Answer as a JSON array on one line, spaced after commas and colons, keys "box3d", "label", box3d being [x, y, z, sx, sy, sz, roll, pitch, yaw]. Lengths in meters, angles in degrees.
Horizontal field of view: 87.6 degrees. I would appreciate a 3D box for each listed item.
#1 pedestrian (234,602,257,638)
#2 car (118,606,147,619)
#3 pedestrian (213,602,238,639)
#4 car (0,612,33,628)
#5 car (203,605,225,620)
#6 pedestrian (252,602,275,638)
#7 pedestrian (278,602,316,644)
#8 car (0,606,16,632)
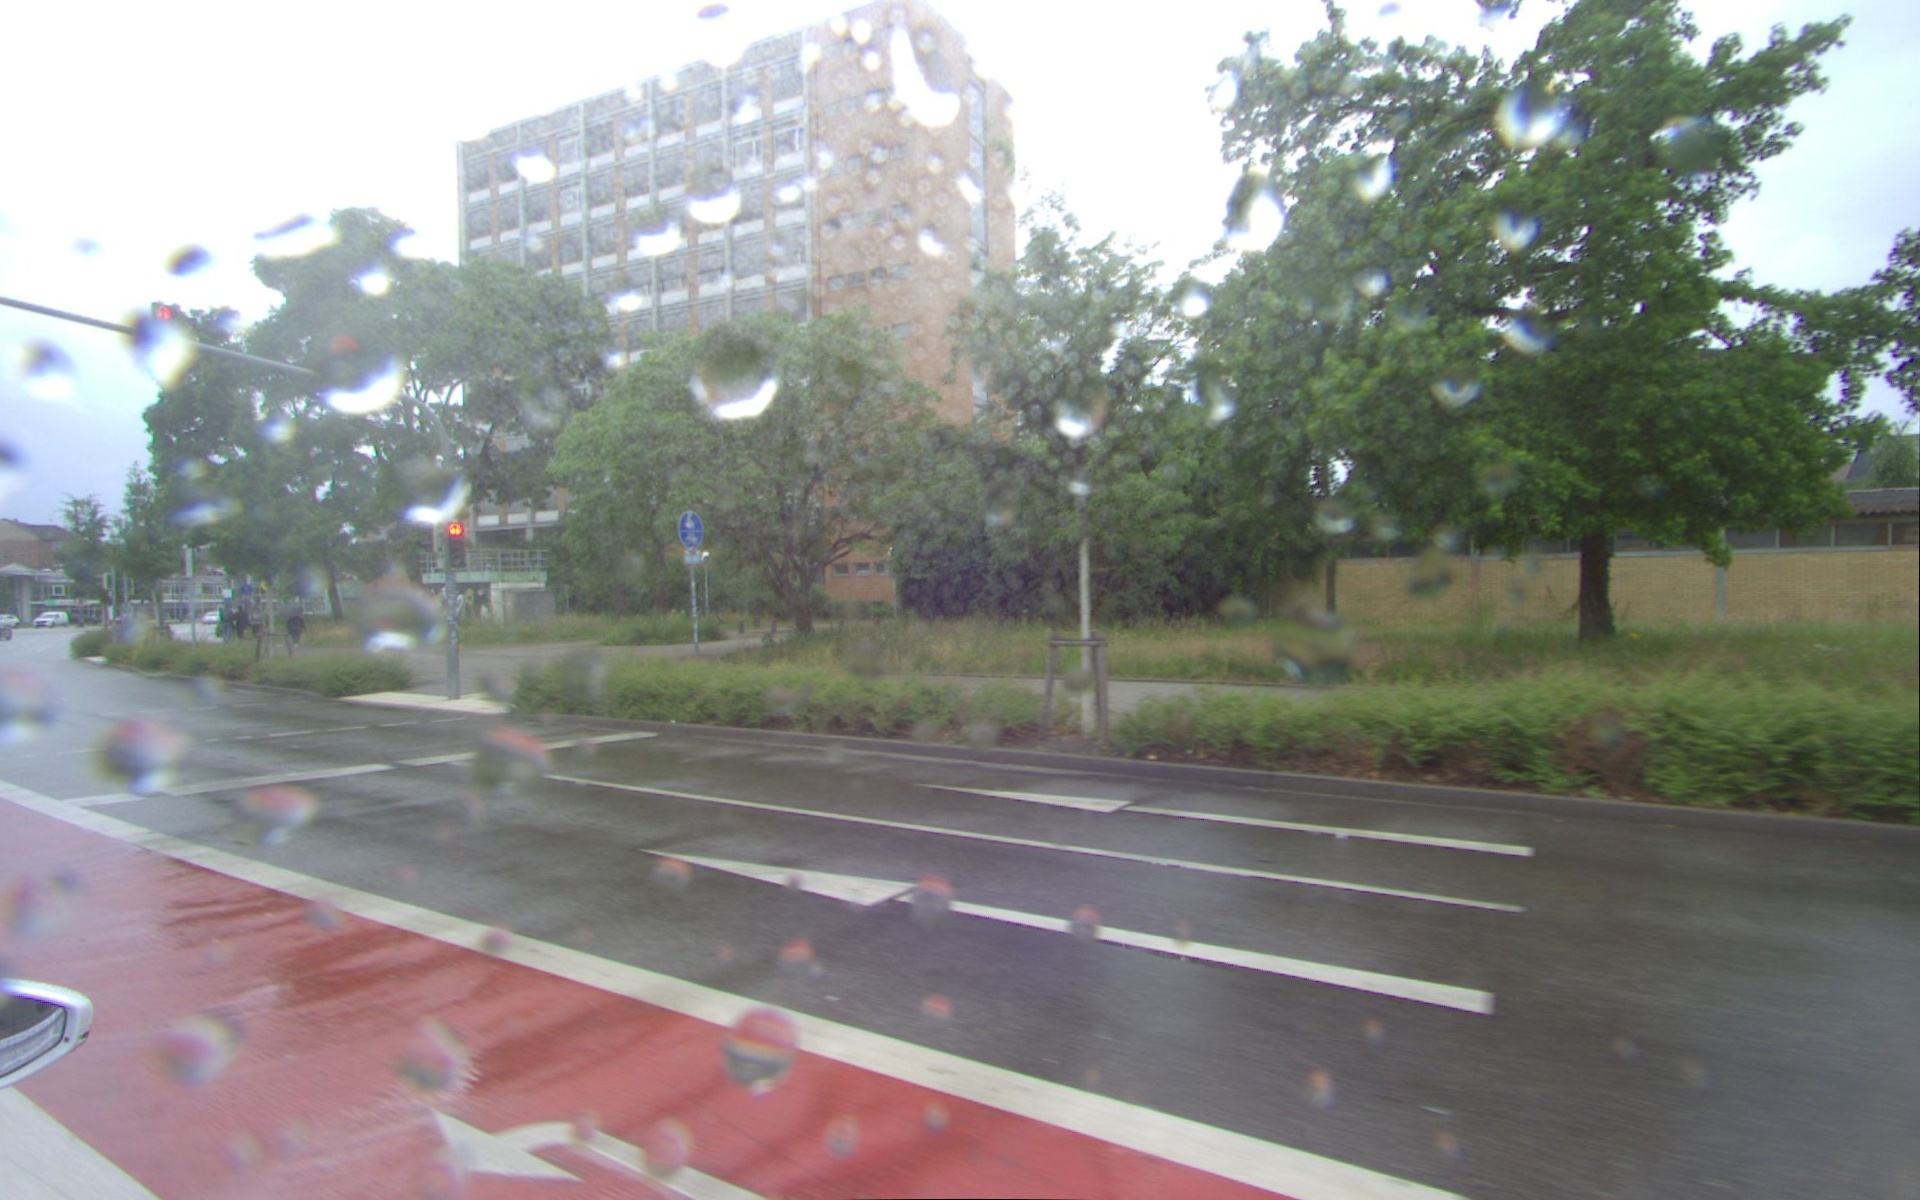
[{"box3d": [-32.001, 0.889, 44.849, 0.927, 1.609, 0.698, 0, 1, 45], "label": "pedestrian"}, {"box3d": [-105.689, 1.612, 127.975, 1.766, 1.665, 4.032, -1, 0, -23], "label": "car"}, {"box3d": [-32.281, 0.899, 44.015, 0.927, 1.609, 0.749, 0, 1, 44], "label": "pedestrian"}, {"box3d": [-108.233, 2.272, 114.566, 1.766, 1.665, 4.381, -1, 0, -23], "label": "car"}, {"box3d": [-86.633, 1.467, 116.351, 1.772, 1.665, 4.132, -1, 0, -34], "label": "car"}, {"box3d": [-31.682, 0.881, 45.532, 0.927, 1.609, 0.698, 0, 1, 45], "label": "pedestrian"}, {"box3d": [-25.567, 0.879, 38.624, 0.927, 1.609, 1.016, 0, 1, 44], "label": "pedestrian"}, {"box3d": [-65.568, 1.276, 67.746, 1.772, 1.665, 4.132, -1, 0, -34], "label": "car"}]
